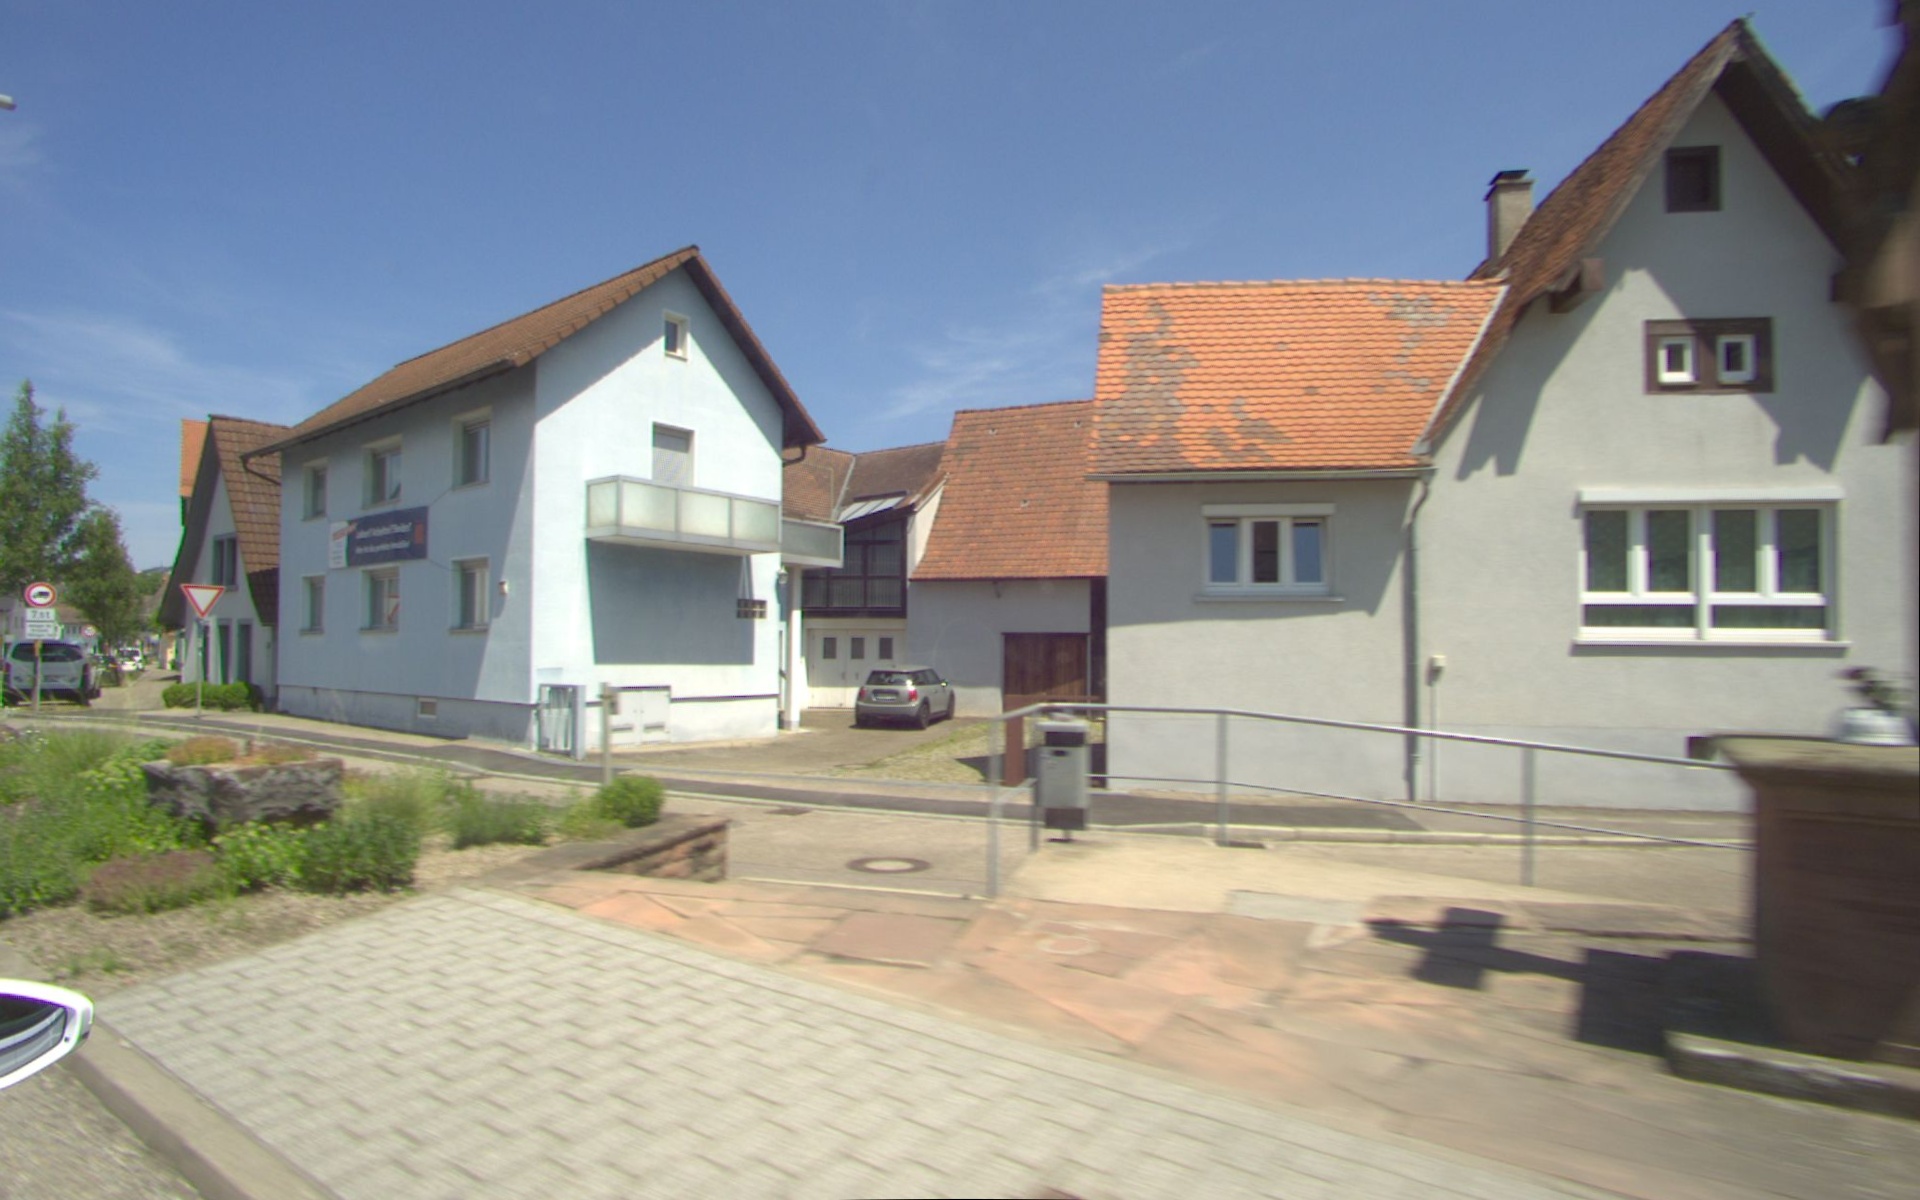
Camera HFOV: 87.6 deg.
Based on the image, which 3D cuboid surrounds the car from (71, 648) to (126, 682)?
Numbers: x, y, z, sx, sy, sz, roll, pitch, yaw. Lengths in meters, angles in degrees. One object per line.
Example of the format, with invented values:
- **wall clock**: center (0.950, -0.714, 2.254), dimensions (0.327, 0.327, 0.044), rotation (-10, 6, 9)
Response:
- **car**: center (-42.849, 3.222, 49.857), dimensions (1.979, 1.604, 3.967), rotation (4, -4, -40)

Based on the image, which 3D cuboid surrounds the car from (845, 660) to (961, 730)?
- **car**: center (-1.310, 2.273, 24.728), dimensions (1.781, 1.471, 3.734), rotation (0, -2, 15)

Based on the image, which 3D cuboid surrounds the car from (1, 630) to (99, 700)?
- **car**: center (-27.108, 1.981, 29.939), dimensions (1.980, 1.934, 4.289), rotation (4, -6, -41)

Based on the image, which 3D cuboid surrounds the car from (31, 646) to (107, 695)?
- **car**: center (-31.750, 2.472, 35.776), dimensions (1.803, 1.654, 4.174), rotation (3, -4, -39)

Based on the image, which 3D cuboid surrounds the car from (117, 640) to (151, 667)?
- **car**: center (-66.457, 4.297, 80.554), dimensions (1.979, 2.016, 3.967), rotation (4, -4, -40)

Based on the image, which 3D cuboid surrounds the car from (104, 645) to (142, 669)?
- **car**: center (-59.561, 4.053, 71.263), dimensions (1.979, 1.604, 3.967), rotation (4, -4, -40)
